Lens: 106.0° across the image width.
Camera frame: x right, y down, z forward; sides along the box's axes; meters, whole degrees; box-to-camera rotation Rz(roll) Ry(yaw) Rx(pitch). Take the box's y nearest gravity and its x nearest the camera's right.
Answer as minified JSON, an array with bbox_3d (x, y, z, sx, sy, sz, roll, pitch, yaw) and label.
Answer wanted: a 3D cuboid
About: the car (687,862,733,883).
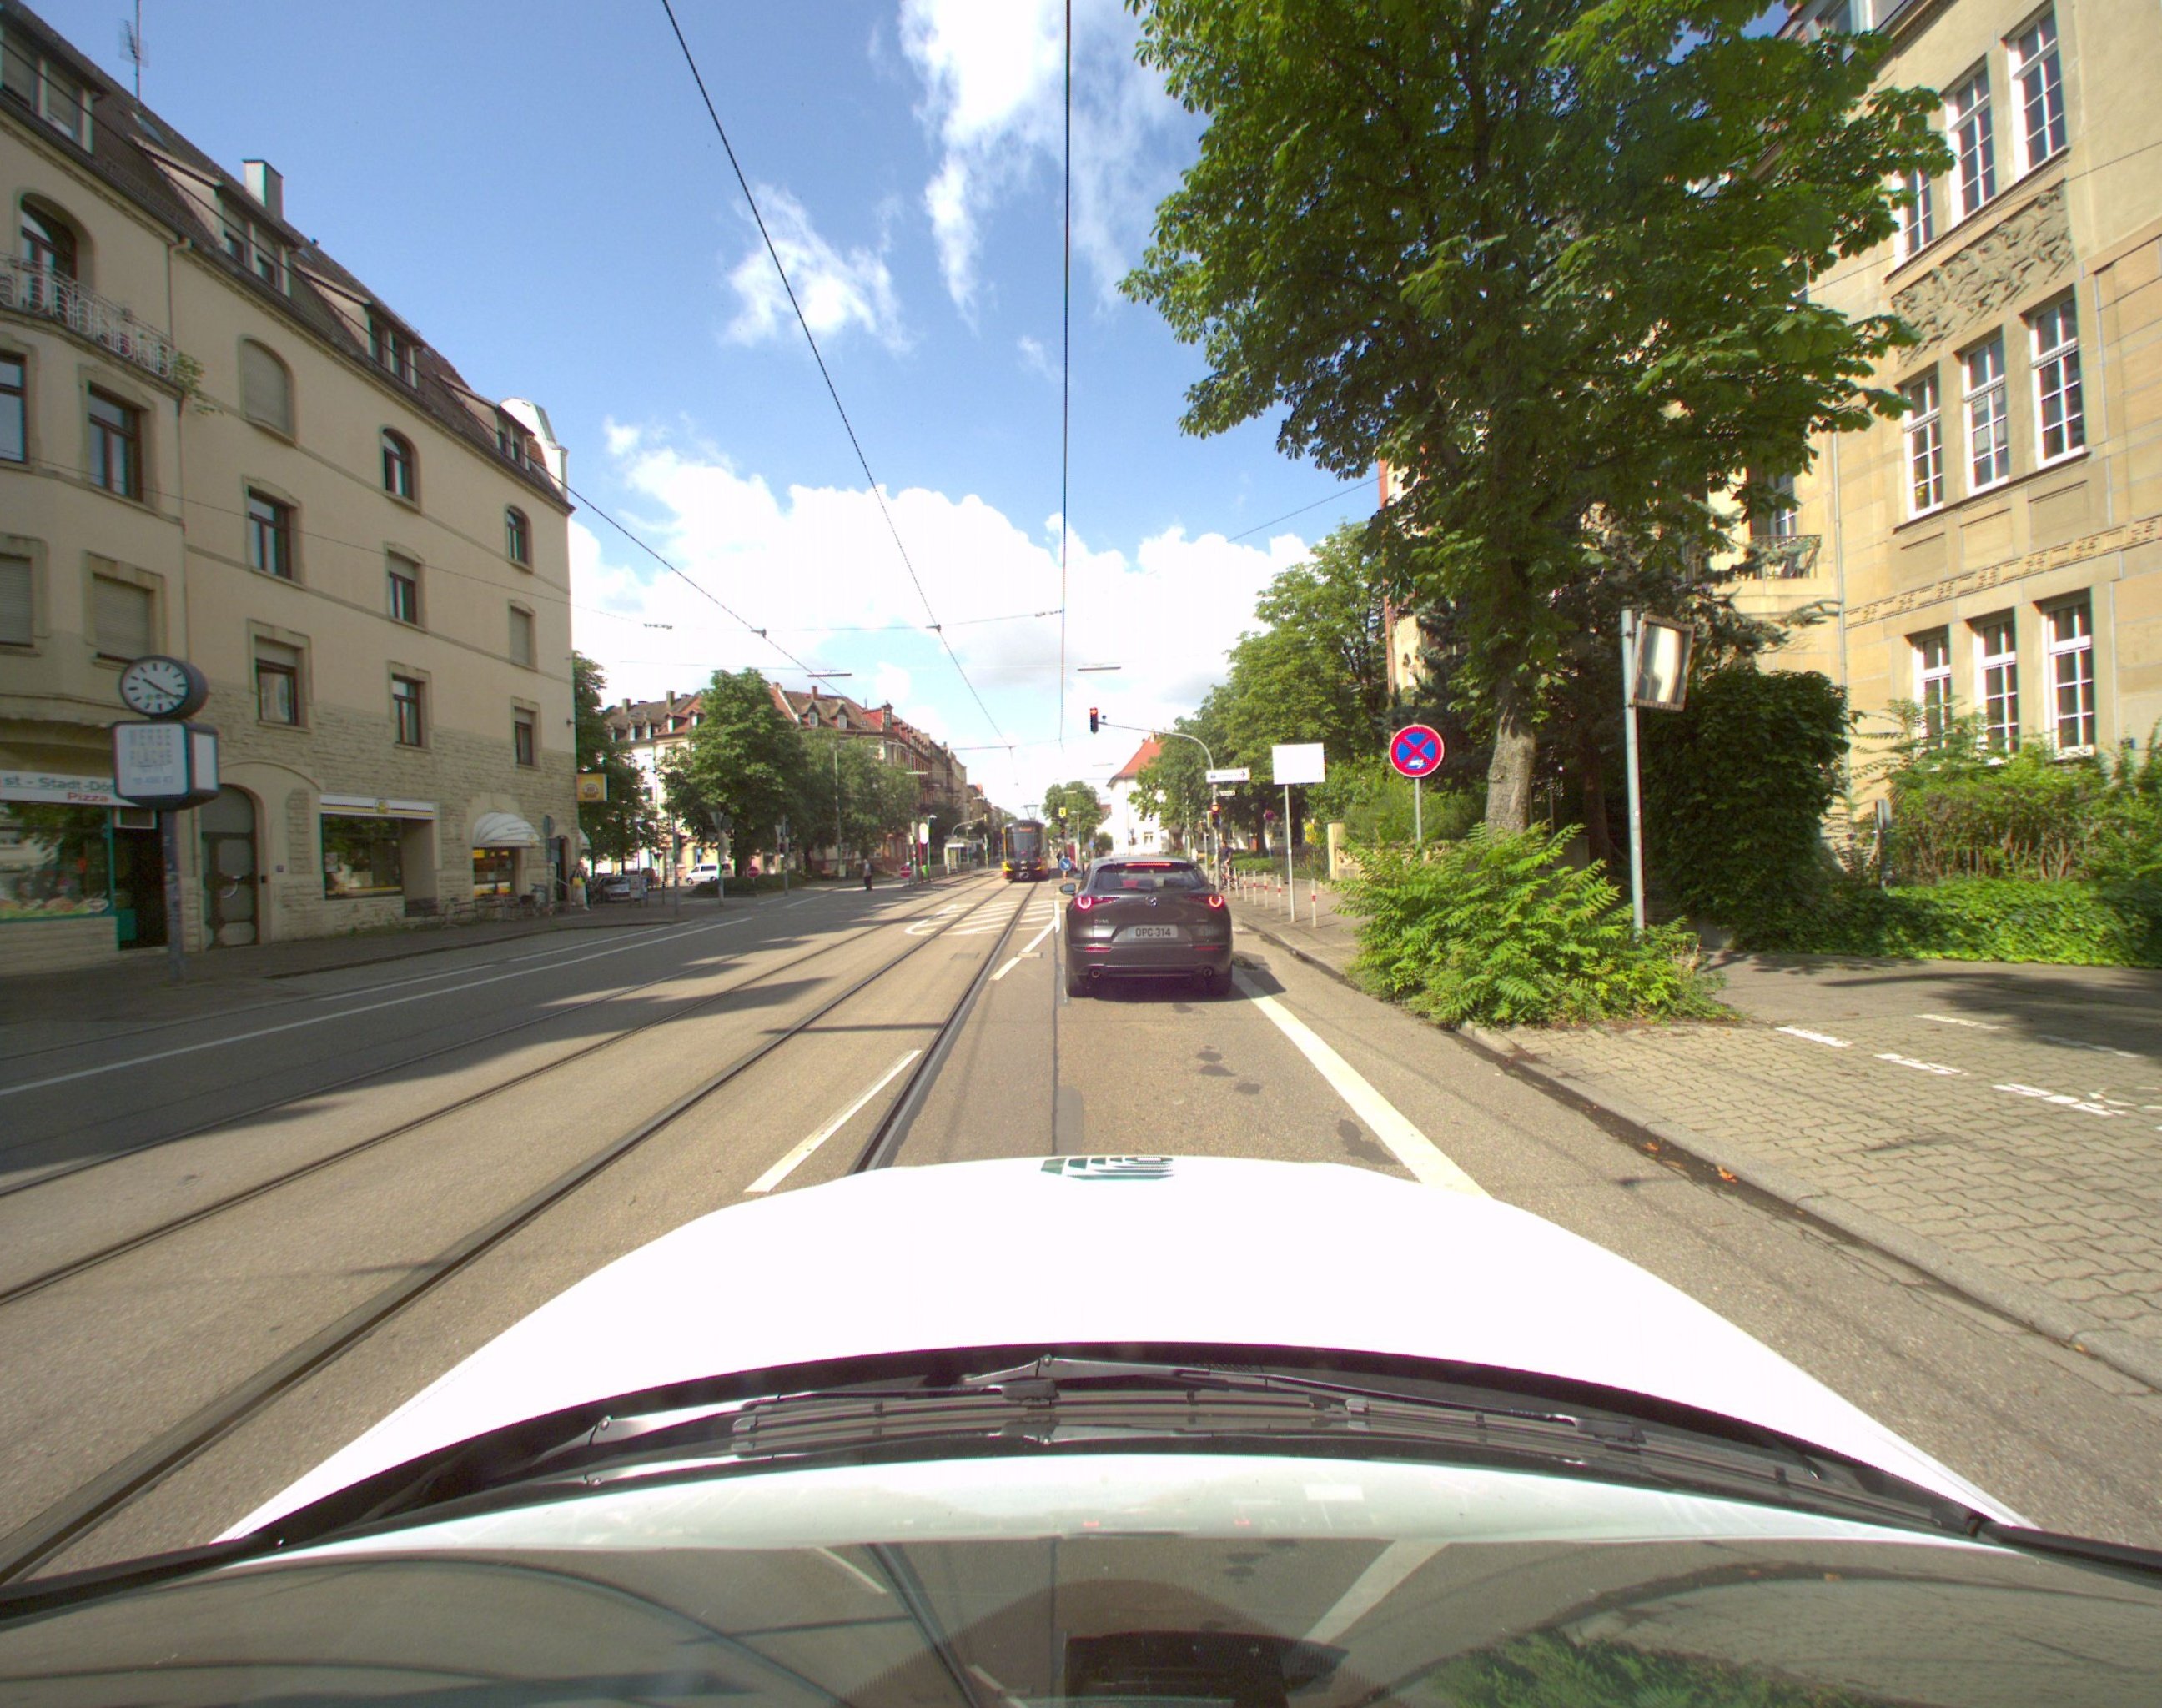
[{"bbox_3d":[-36.705,1.860,80.535,3.950,1.903,2.012,-2,0,26],"label":"car"}]

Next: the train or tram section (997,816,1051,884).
[{"bbox_3d":[-3.301,-0.338,50.779,2.746,3.490,14.396,-2,1,-2],"label":"train or tram section"}]

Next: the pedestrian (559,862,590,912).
[{"bbox_3d":[-18.338,1.182,29.500,0.684,1.754,0.797,-2,0,-14],"label":"pedestrian"}]

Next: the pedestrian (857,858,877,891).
[{"bbox_3d":[-11.281,1.067,43.009,0.722,1.705,0.815,-2,0,-36],"label":"pedestrian"}]

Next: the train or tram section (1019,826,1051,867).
[{"bbox_3d":[-4.372,-0.796,79.526,2.746,3.490,14.396,-2,1,-2],"label":"train or tram section"}]

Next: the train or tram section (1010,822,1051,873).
[{"bbox_3d":[-3.838,-0.581,65.146,2.746,3.490,14.396,-2,1,-2],"label":"train or tram section"}]

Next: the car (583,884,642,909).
[{"bbox_3d":[-25.239,2.286,43.841,3.949,1.182,1.689,-2,0,43],"label":"car"}]

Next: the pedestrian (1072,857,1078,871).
[{"bbox_3d":[-0.437,0.731,59.463,0.379,0.984,0.474,-2,0,-3],"label":"pedestrian"}]

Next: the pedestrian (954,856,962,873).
[{"bbox_3d":[-9.835,0.837,64.907,0.424,1.399,0.401,-2,0,32],"label":"pedestrian"}]

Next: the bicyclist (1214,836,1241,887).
[{"bbox_3d":[5.281,0.270,29.372,0.649,1.793,0.614,-2,0,41],"label":"bicyclist"}]

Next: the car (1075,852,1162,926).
[{"bbox_3d":[0.827,0.719,18.752,1.772,1.499,4.001,0,0,1],"label":"car"}]

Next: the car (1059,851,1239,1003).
[{"bbox_3d":[0.727,0.720,10.105,1.772,1.499,4.001,0,0,1],"label":"car"}]

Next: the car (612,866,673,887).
[{"bbox_3d":[-36.941,1.882,68.644,3.972,1.596,2.001,-2,0,2],"label":"car"}]

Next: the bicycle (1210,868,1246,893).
[{"bbox_3d":[5.302,0.957,29.384,0.488,0.824,1.710,-2,0,39],"label":"bicycle"}]

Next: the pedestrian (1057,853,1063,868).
[{"bbox_3d":[-1.538,0.440,58.999,0.379,1.071,0.474,-2,0,-3],"label":"pedestrian"}]

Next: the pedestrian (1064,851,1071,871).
[{"bbox_3d":[-1.007,0.474,58.973,0.449,1.434,0.474,-2,0,-3],"label":"pedestrian"}]
